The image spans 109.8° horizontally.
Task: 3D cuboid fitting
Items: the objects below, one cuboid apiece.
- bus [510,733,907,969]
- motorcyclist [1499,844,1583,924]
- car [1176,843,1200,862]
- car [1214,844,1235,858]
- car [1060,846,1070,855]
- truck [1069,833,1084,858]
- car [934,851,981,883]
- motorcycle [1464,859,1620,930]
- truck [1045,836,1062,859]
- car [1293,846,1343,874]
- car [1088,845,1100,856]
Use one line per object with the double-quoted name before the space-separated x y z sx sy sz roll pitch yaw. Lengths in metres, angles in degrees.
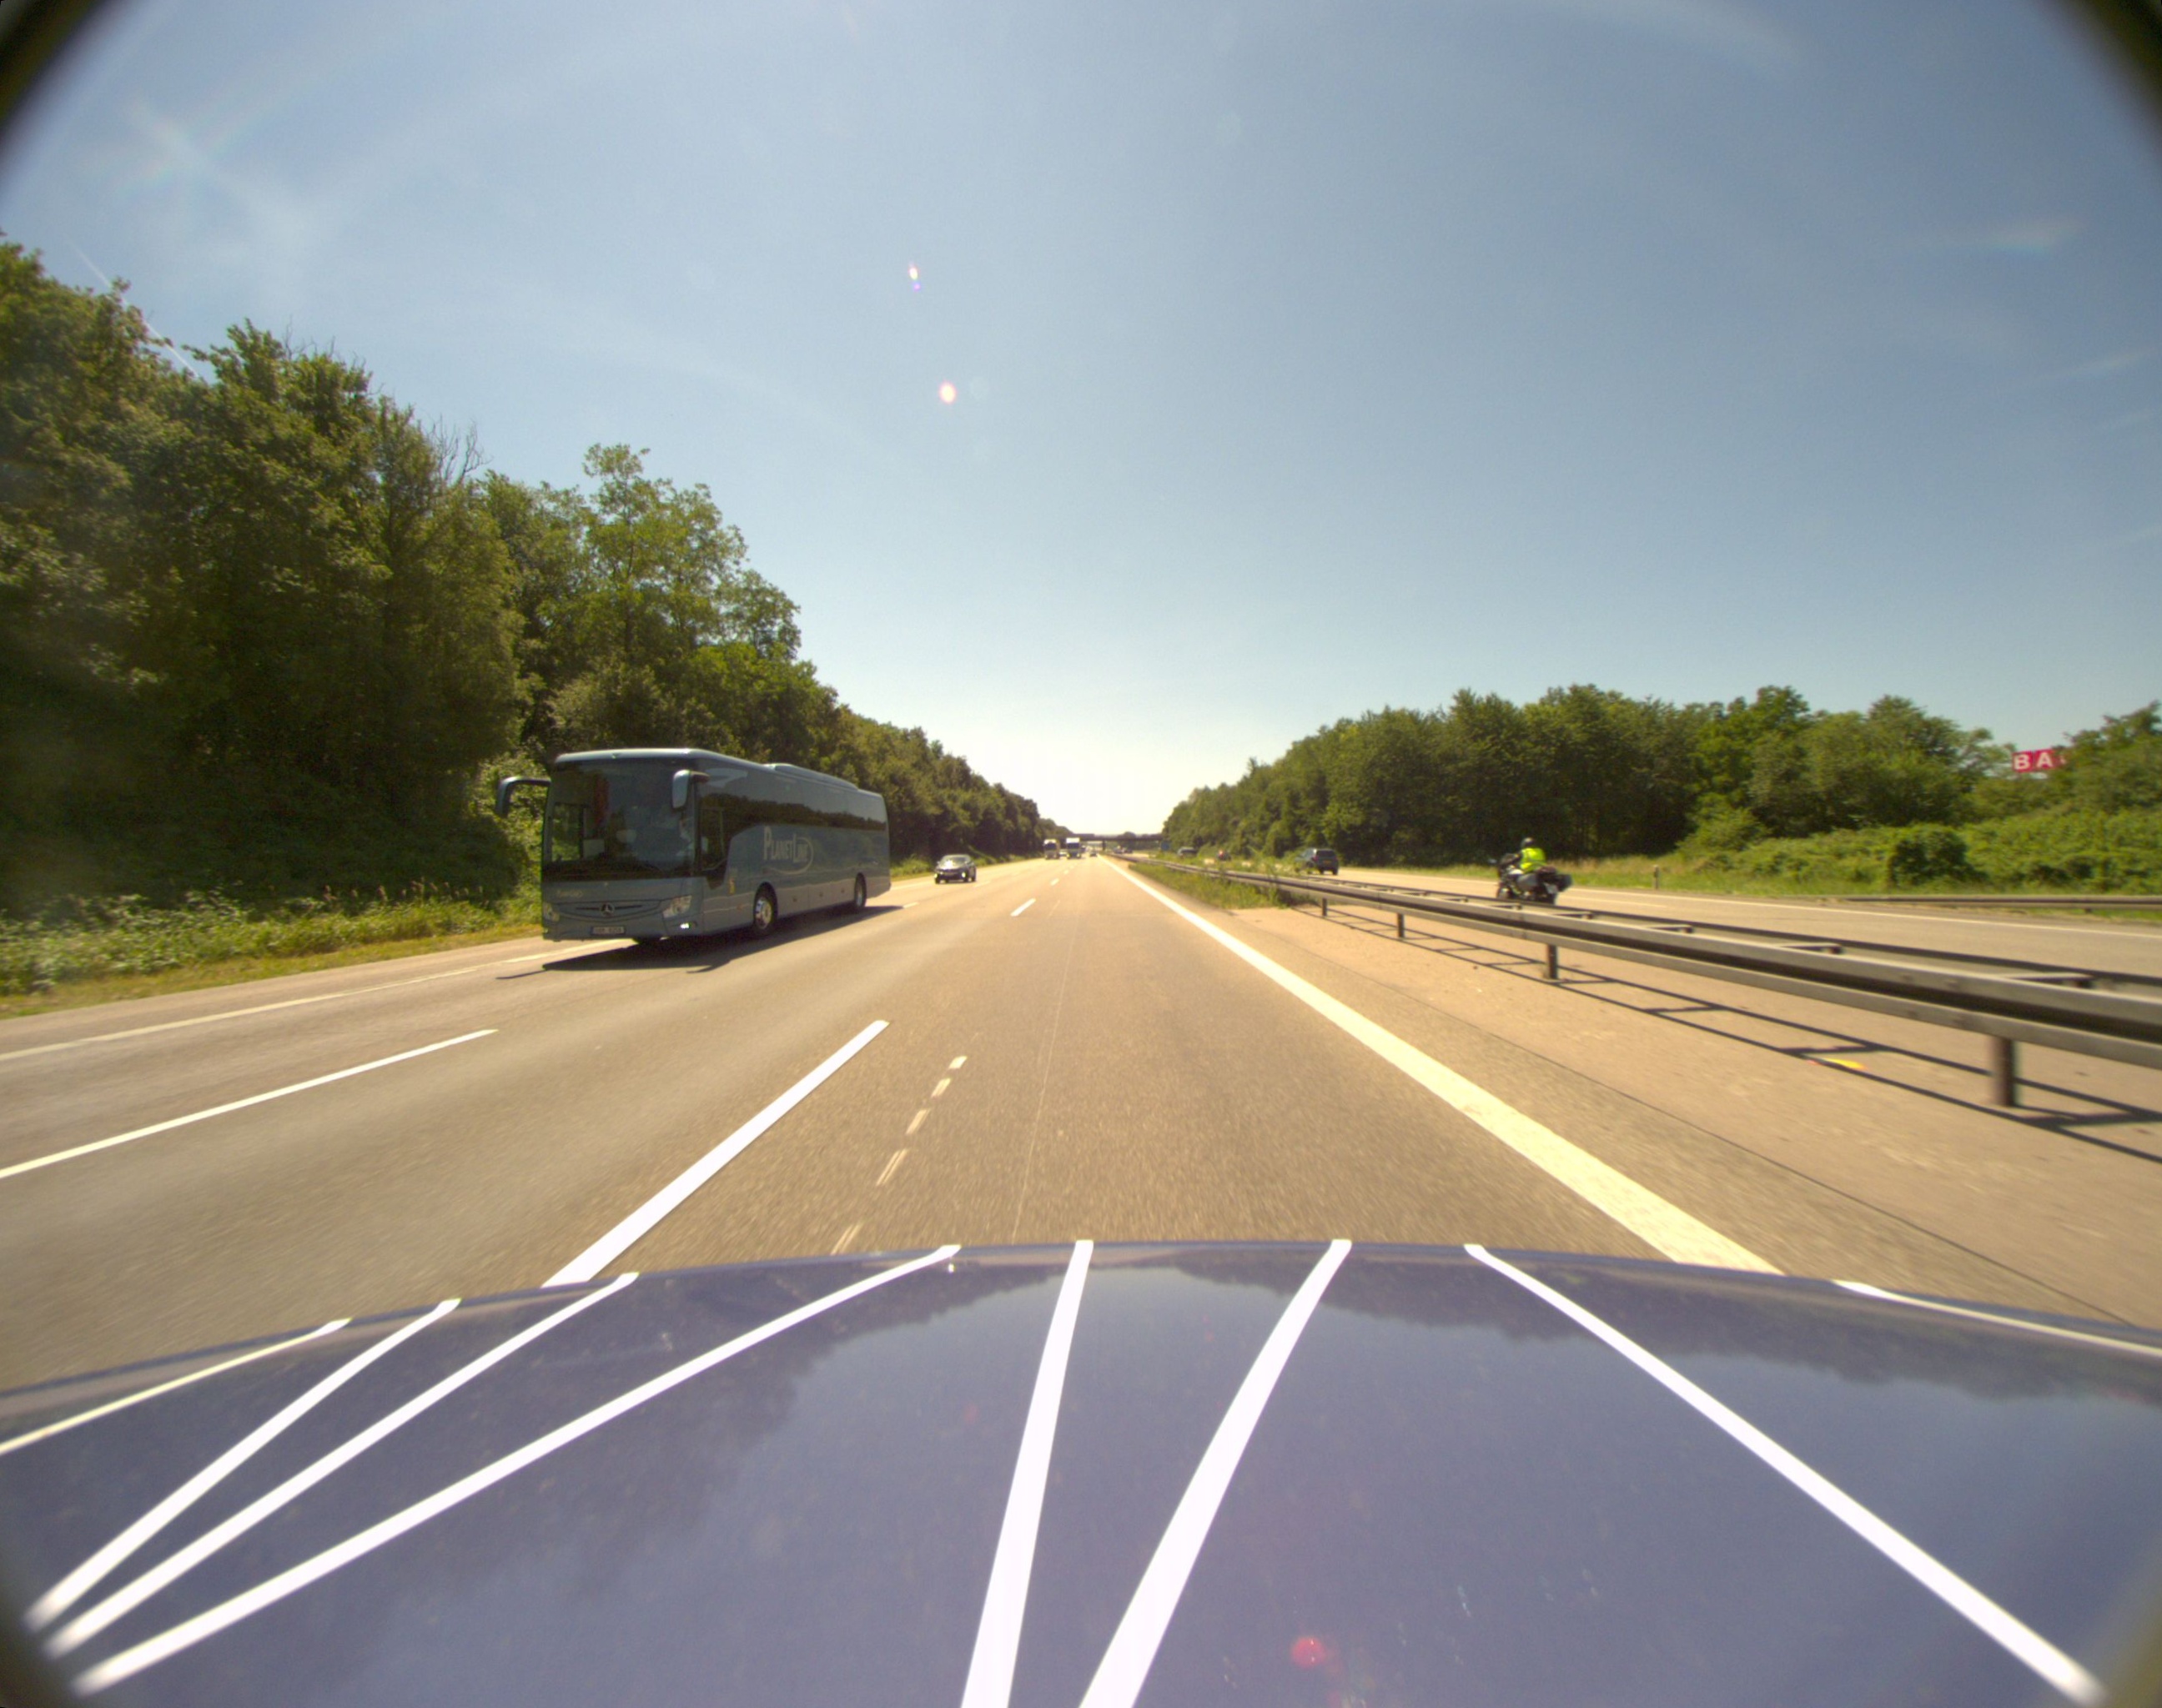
"bus" -7.274 -0.130 18.493 2.617 3.532 13.681 -2 1 1
"motorcyclist" 9.644 0.605 15.967 1.043 1.590 1.151 -2 1 1
"car" 10.661 -0.167 75.962 1.844 1.771 3.512 -2 1 1
"car" 18.329 -0.361 97.249 1.867 1.651 3.999 -2 1 1
"car" -4.327 -0.979 207.285 2.616 2.389 7.122 -2 1 1
"truck" -0.880 -1.654 150.977 2.616 4.638 10.960 -2 1 1
"car" -6.847 0.688 42.491 1.814 1.607 3.999 -2 1 1
"motorcycle" 9.630 0.779 16.204 1.037 1.231 3.810 -2 1 1
"truck" -5.605 -1.367 156.560 2.616 4.638 10.960 -2 1 1
"car" 14.684 0.332 47.267 1.850 1.663 4.185 1 1 1
"car" 2.978 -0.835 172.291 2.616 2.389 7.122 -2 1 1
